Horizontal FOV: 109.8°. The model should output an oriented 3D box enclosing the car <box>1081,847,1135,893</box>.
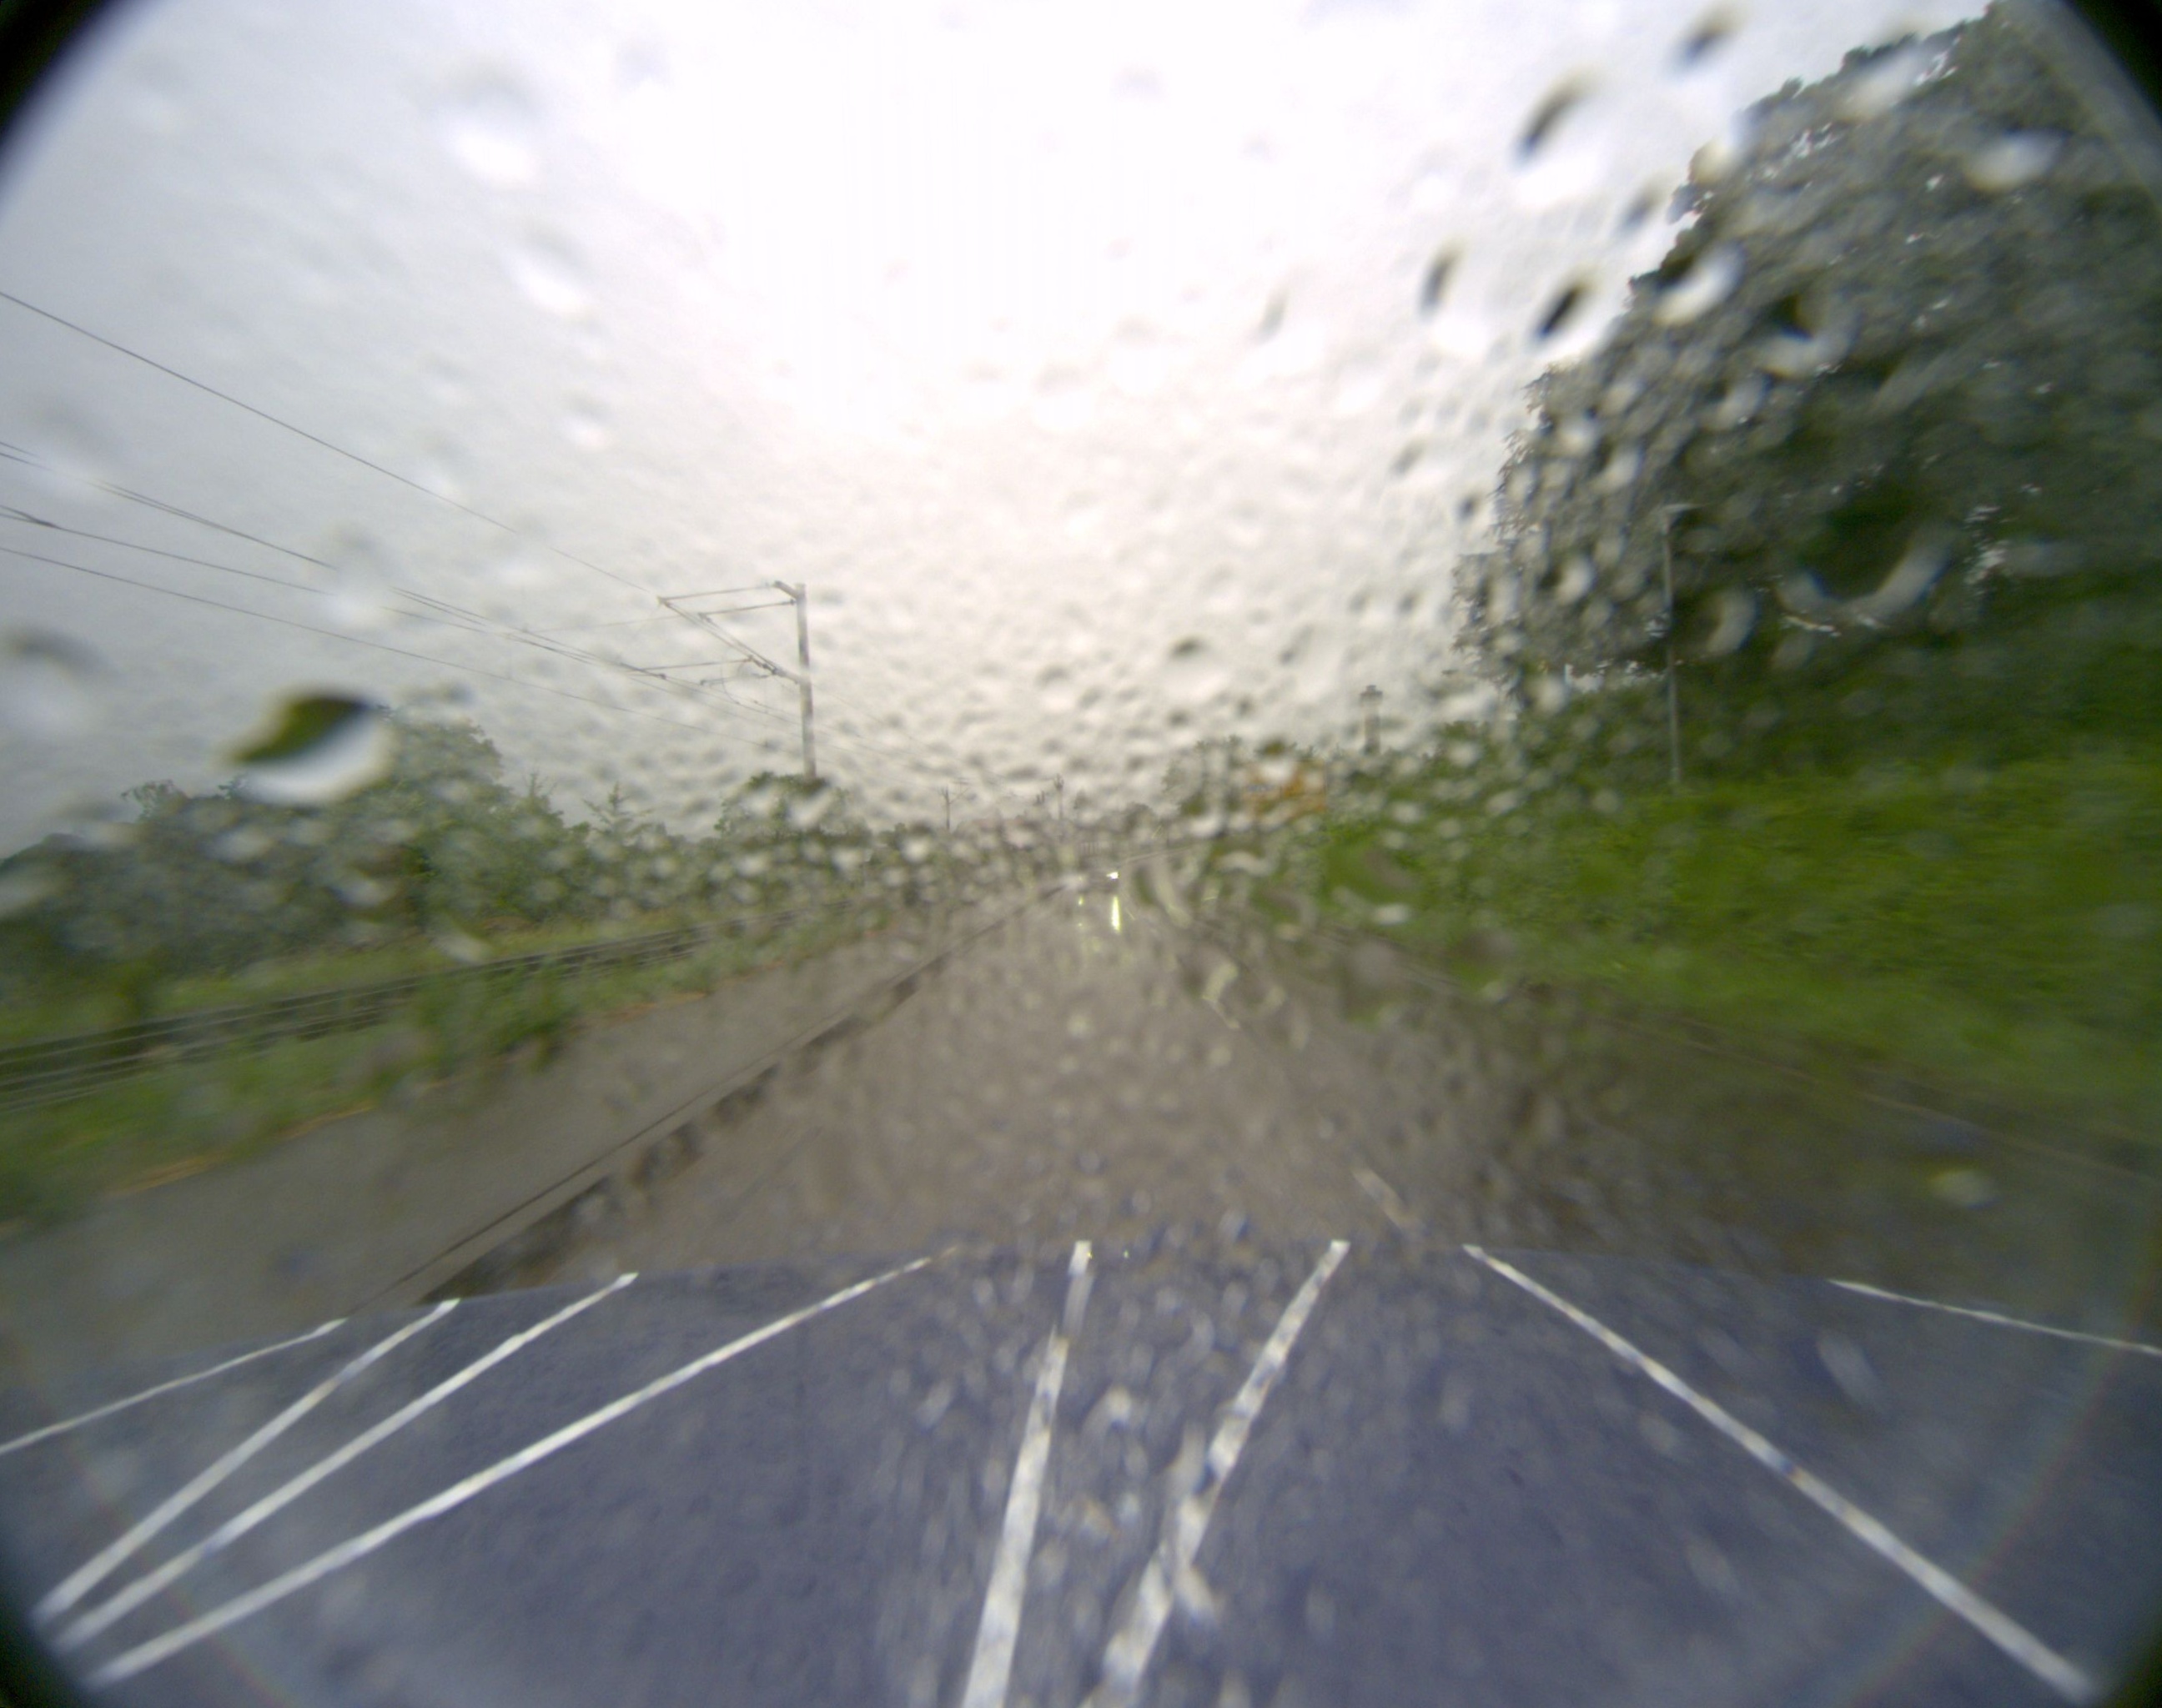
[{"bbox_3d":[1.250,0.630,32.829,1.998,1.623,4.000,-3,3,6],"label":"car"}]
